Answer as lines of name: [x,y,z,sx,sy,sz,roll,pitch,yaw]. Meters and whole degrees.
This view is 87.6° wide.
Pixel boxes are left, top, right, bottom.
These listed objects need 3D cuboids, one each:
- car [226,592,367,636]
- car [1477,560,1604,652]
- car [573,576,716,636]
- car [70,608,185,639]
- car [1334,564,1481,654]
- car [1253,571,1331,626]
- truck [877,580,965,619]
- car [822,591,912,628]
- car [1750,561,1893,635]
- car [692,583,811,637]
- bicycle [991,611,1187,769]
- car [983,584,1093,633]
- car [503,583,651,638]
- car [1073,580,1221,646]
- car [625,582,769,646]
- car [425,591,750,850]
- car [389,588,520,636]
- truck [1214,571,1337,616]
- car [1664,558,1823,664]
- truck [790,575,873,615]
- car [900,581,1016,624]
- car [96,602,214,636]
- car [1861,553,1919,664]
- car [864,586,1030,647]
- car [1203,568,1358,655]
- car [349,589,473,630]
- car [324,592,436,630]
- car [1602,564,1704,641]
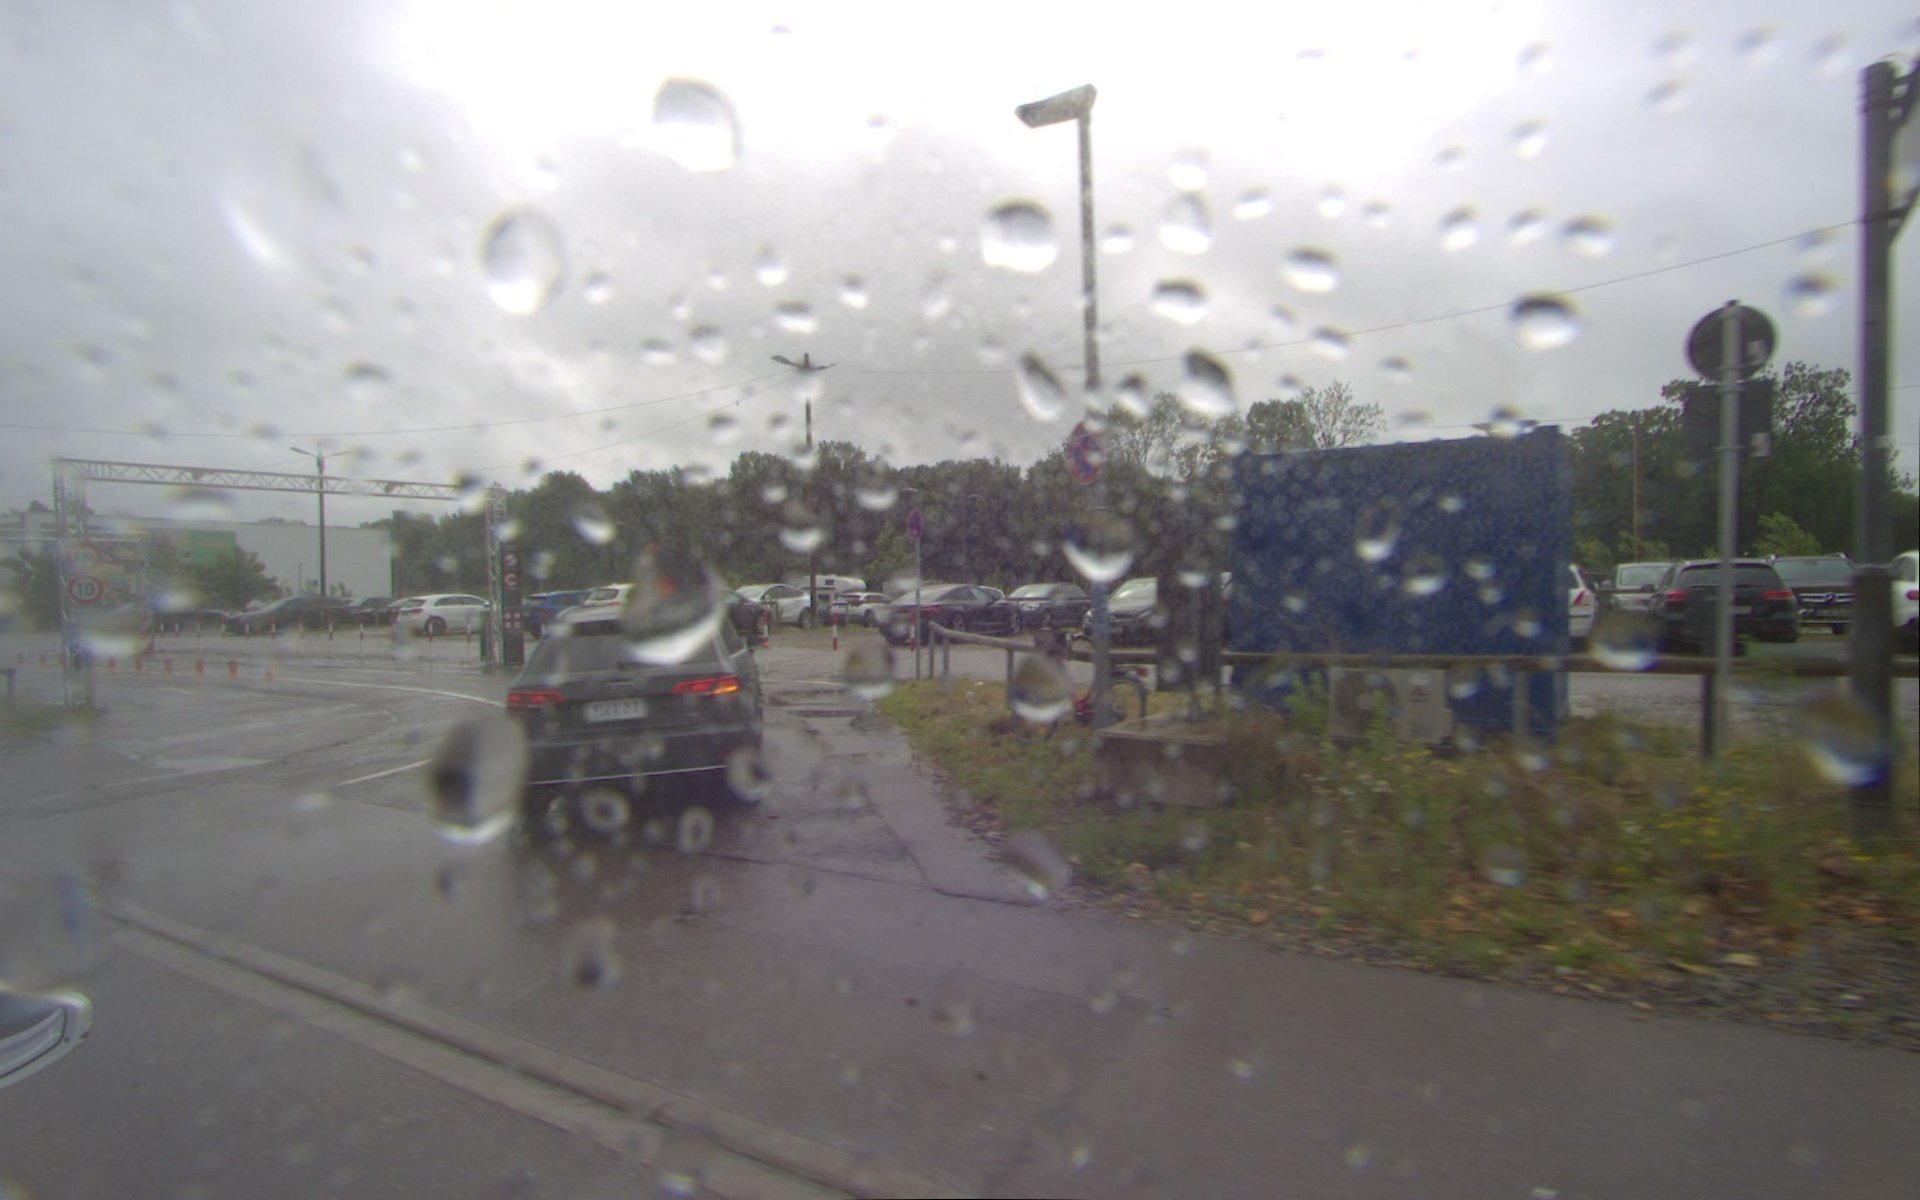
car: [-28.136,0.586,42.646,1.987,1.738,4.617,-2,-1,27]
car: [10.888,0.063,18.653,1.754,1.510,3.939,-2,1,34]
car: [-9.645,0.159,30.864,1.763,1.605,3.889,-2,2,35]
car: [-40.886,1.151,49.269,1.972,1.427,3.978,-2,-1,33]
car: [8.553,0.120,18.958,1.845,1.510,3.939,-2,1,34]
car: [12.009,-0.060,36.068,1.970,1.855,3.981,0,1,29]
truck: [-2.346,-0.044,59.141,5.019,2.167,2.064,0,1,38]
car: [-4.268,0.398,46.477,1.992,1.610,4.308,0,1,32]
car: [17.120,-0.088,20.086,1.653,1.338,3.976,0,2,33]
car: [-7.316,0.321,35.540,1.805,1.682,4.051,-2,2,30]
bicycle: [0.972,0.649,7.933,0.502,1.099,1.690,-2,1,-36]
car: [2.386,0.235,29.646,1.729,1.350,3.981,-1,0,30]
car: [-12.310,0.299,32.409,1.902,1.504,4.030,-2,2,35]
car: [4.194,0.249,22.044,1.627,1.237,3.872,-2,1,37]
car: [-7.584,0.380,29.156,1.763,1.605,3.761,-2,2,35]
car: [-2.789,0.719,8.375,1.866,1.476,4.220,-3,2,-13]
car: [-18.544,0.404,36.863,1.902,1.504,3.815,-2,2,35]
truck: [14.798,-0.316,47.074,5.206,2.041,2.075,0,2,34]
car: [12.631,0.114,16.361,1.754,1.510,3.939,-2,1,34]
truck: [-8.129,-0.324,63.042,5.011,2.434,2.067,0,1,33]
car: [0.005,0.054,31.441,1.805,1.086,4.051,-2,2,31]
car: [-38.340,0.898,47.789,1.972,1.504,3.978,-2,-1,33]
car: [15.025,0.036,14.987,1.754,1.510,3.939,-2,1,34]
car: [-0.196,0.361,24.716,1.950,1.237,4.577,-2,1,31]
car: [6.417,0.182,19.800,1.845,1.510,3.939,-2,1,34]
car: [-25.783,0.427,47.194,2.015,1.627,4.690,-2,2,32]
car: [-29.215,0.527,50.589,2.015,1.627,4.430,-2,2,32]
car: [14.850,-0.002,21.609,1.653,1.514,3.976,0,2,33]
